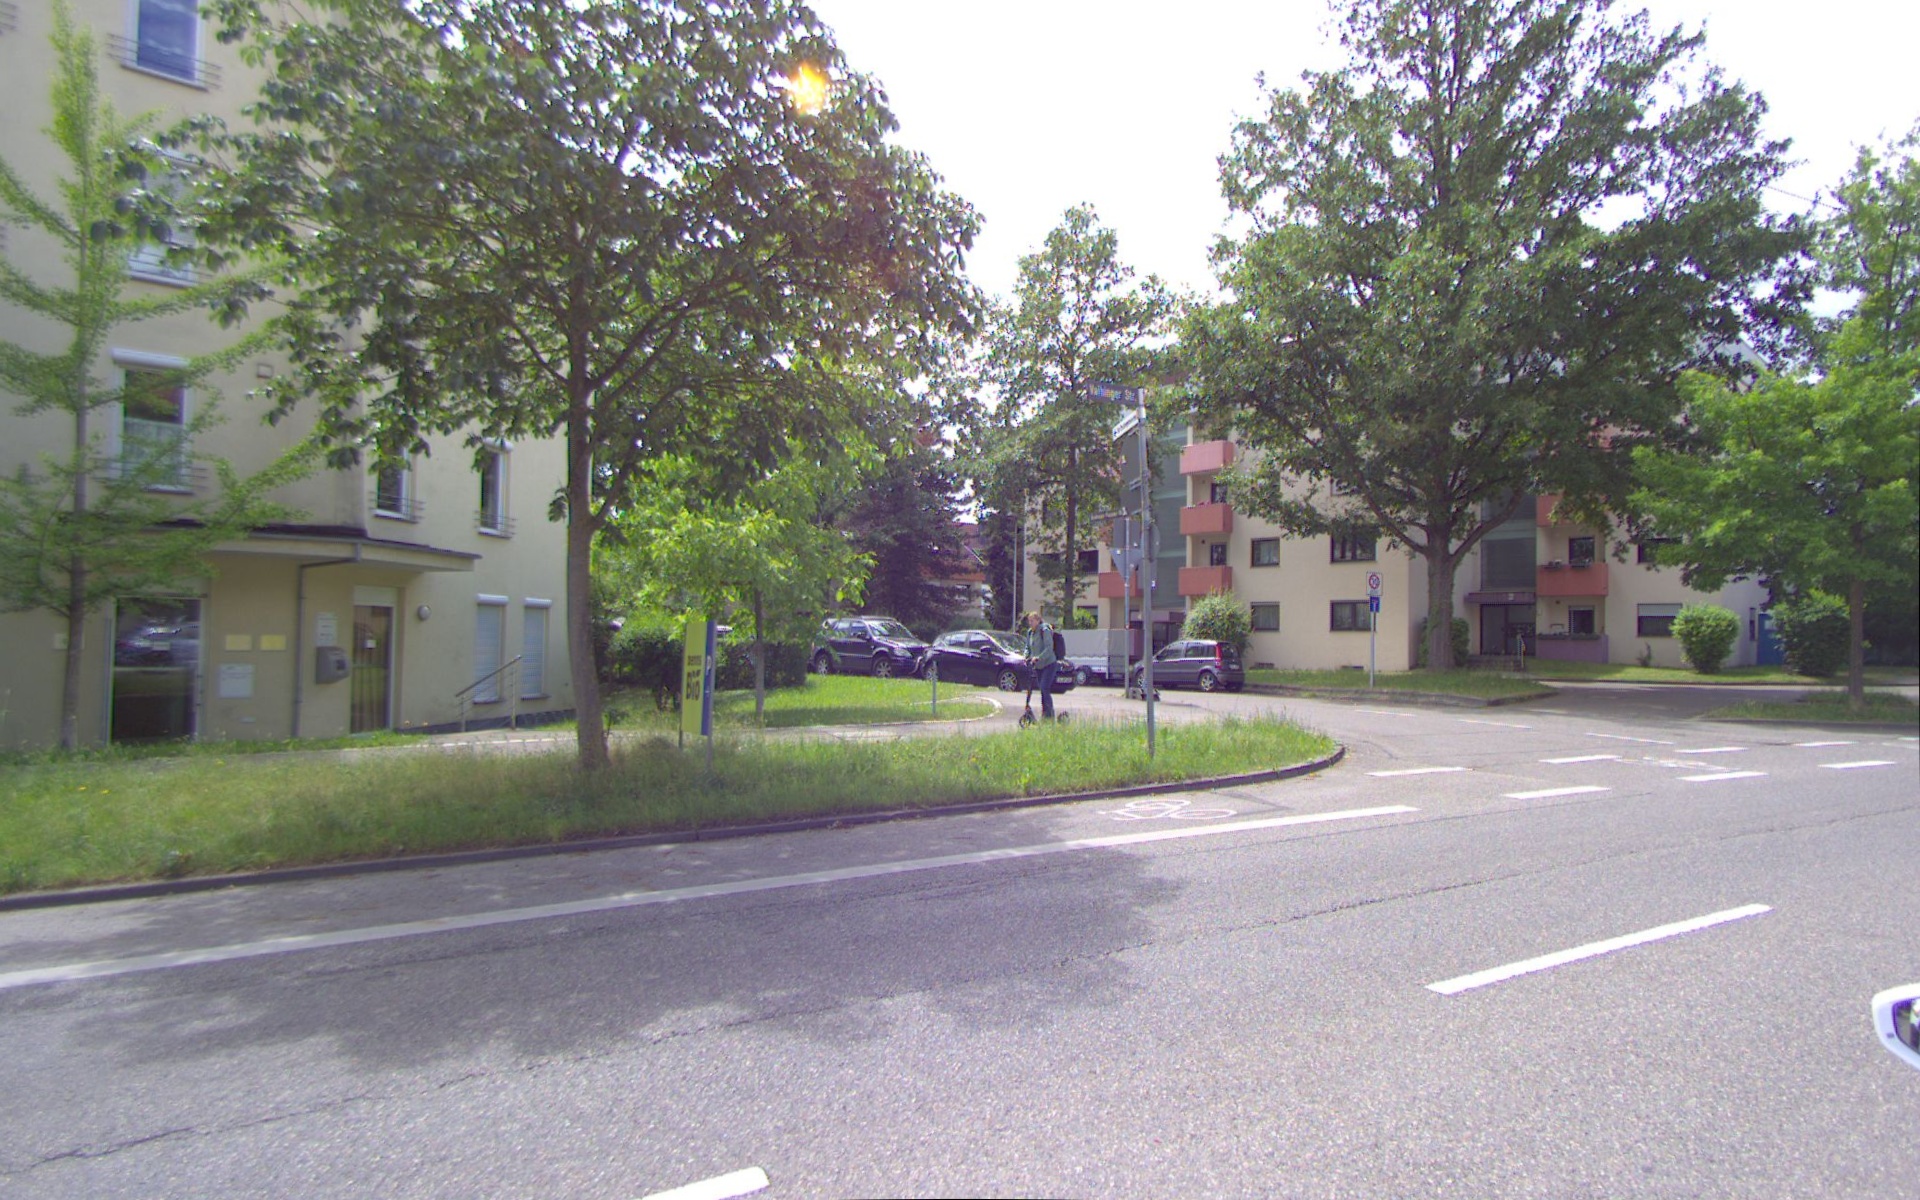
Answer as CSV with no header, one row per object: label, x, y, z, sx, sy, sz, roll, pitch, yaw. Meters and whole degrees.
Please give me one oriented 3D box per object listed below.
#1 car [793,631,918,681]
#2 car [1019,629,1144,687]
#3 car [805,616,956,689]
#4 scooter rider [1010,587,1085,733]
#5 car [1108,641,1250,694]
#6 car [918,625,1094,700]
car,-4.032,2.111,38.653,4.337,1.817,2.124,-1,-2,28
car,4.047,1.988,33.995,1.832,1.868,3.951,2,-5,-42
car,-2.249,1.370,27.556,1.857,1.675,4.379,2,0,-41
scooter rider,1.265,0.854,14.599,0.785,2.040,0.673,2,0,-30
car,6.603,2.002,30.521,3.944,1.471,1.687,-2,-3,43
car,0.989,1.400,23.592,1.725,1.417,4.100,2,0,-42
